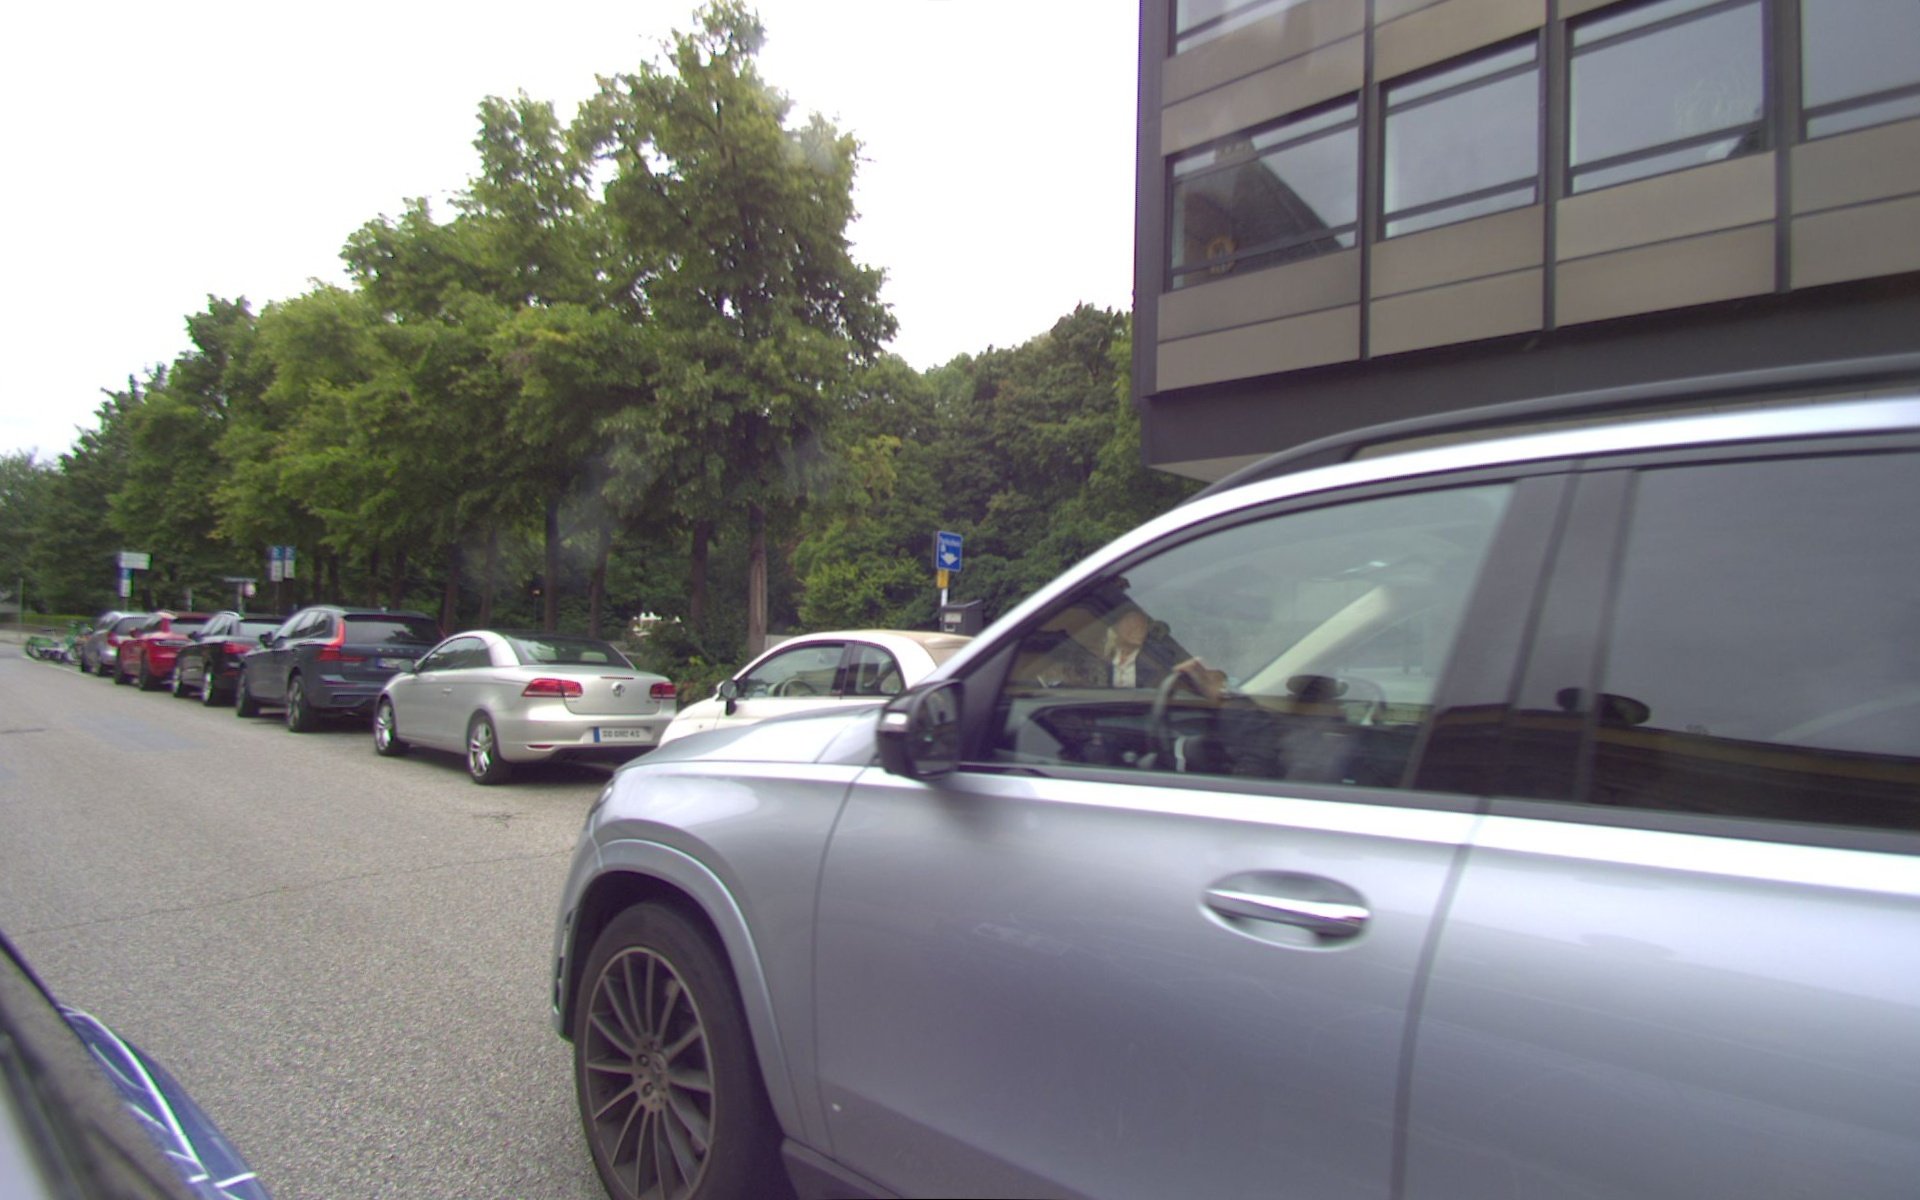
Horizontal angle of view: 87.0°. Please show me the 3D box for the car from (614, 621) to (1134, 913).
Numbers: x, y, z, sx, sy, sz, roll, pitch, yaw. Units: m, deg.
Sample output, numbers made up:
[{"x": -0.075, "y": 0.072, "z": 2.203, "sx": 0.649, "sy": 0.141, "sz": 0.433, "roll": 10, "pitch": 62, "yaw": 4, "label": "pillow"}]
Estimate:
[{"x": -0.742, "y": 0.929, "z": 6.978, "sx": 3.552, "sy": 1.482, "sz": 1.527, "roll": -1, "pitch": -4, "yaw": 42, "label": "car"}]

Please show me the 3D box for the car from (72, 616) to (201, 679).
[{"x": -21.182, "y": 1.183, "z": 25.983, "sx": 4.364, "sy": 1.472, "sz": 1.971, "roll": -1, "pitch": -3, "yaw": 43, "label": "car"}]

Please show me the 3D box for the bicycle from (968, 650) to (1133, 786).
[{"x": 0.870, "y": 1.109, "z": 9.956, "sx": 1.526, "sy": 1.173, "sz": 0.636, "roll": -1, "pitch": 0, "yaw": 41, "label": "bicycle"}]

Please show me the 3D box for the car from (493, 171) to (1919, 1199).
[{"x": 1.105, "y": 0.538, "z": 1.913, "sx": 4.678, "sy": 1.702, "sz": 2.002, "roll": -1, "pitch": -3, "yaw": 44, "label": "car"}]

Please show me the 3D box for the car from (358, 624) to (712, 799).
[{"x": -4.503, "y": 1.024, "z": 10.390, "sx": 4.218, "sy": 1.411, "sz": 1.738, "roll": -1, "pitch": -6, "yaw": 44, "label": "car"}]

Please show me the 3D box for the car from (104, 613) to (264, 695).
[{"x": -16.401, "y": 1.090, "z": 21.312, "sx": 4.364, "sy": 1.555, "sz": 1.971, "roll": -1, "pitch": -3, "yaw": 43, "label": "car"}]

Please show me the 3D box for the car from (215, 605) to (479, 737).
[{"x": -8.857, "y": 0.925, "z": 14.458, "sx": 4.521, "sy": 1.595, "sz": 1.972, "roll": -1, "pitch": -3, "yaw": 42, "label": "car"}]

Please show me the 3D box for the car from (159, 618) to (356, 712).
[{"x": -12.784, "y": 1.100, "z": 18.302, "sx": 4.647, "sy": 1.472, "sz": 1.971, "roll": -1, "pitch": -3, "yaw": 43, "label": "car"}]

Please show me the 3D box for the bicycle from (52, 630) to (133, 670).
[{"x": -25.266, "y": 1.434, "z": 29.499, "sx": 0.597, "sy": 1.116, "sz": 1.681, "roll": 0, "pitch": -2, "yaw": 34, "label": "bicycle"}]

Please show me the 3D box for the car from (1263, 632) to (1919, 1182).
[{"x": 3.349, "y": 0.902, "z": 3.199, "sx": 4.279, "sy": 1.451, "sz": 1.663, "roll": -1, "pitch": -5, "yaw": 43, "label": "car"}]

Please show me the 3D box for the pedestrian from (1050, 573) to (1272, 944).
[{"x": 1.040, "y": 0.790, "z": 5.311, "sx": 0.878, "sy": 1.765, "sz": 0.692, "roll": 3, "pitch": -4, "yaw": -18, "label": "pedestrian"}]

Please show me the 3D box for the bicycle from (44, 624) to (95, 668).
[{"x": -26.625, "y": 1.360, "z": 30.272, "sx": 0.566, "sy": 1.292, "sz": 1.423, "roll": 0, "pitch": -1, "yaw": -15, "label": "bicycle"}]
